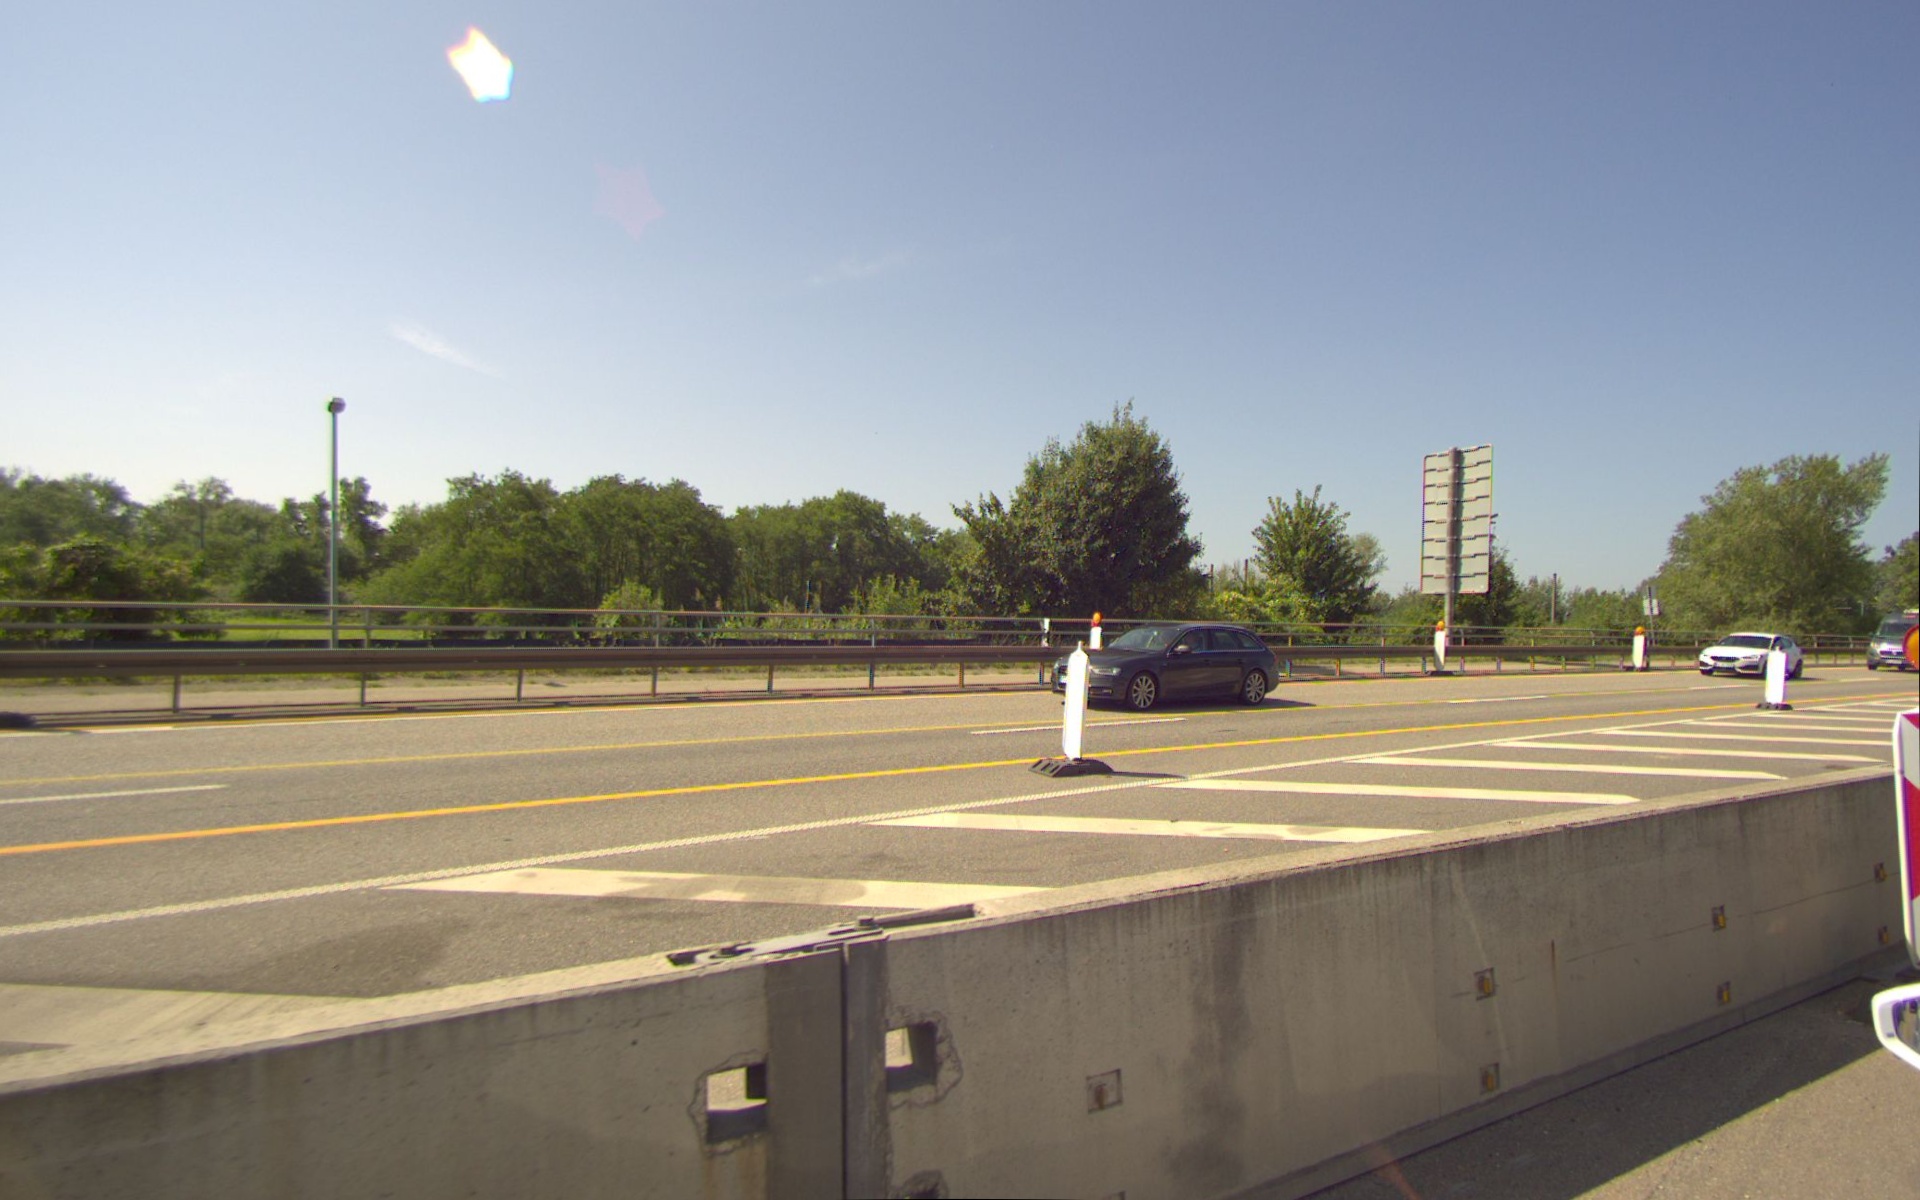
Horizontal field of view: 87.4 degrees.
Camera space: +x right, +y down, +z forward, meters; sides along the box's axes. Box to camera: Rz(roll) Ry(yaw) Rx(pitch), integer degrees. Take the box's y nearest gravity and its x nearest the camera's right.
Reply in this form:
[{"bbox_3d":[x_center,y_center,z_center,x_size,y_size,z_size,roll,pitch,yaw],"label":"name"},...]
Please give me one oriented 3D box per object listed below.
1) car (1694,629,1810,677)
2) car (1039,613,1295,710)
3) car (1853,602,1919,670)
[{"bbox_3d":[26.192,1.729,33.174,4.472,1.416,1.708,2,0,-34],"label":"car"},{"bbox_3d":[3.722,1.021,17.674,4.599,1.495,1.726,1,-1,-35],"label":"car"},{"bbox_3d":[39.738,1.496,41.925,5.482,2.696,2.135,2,0,-31],"label":"car"}]
